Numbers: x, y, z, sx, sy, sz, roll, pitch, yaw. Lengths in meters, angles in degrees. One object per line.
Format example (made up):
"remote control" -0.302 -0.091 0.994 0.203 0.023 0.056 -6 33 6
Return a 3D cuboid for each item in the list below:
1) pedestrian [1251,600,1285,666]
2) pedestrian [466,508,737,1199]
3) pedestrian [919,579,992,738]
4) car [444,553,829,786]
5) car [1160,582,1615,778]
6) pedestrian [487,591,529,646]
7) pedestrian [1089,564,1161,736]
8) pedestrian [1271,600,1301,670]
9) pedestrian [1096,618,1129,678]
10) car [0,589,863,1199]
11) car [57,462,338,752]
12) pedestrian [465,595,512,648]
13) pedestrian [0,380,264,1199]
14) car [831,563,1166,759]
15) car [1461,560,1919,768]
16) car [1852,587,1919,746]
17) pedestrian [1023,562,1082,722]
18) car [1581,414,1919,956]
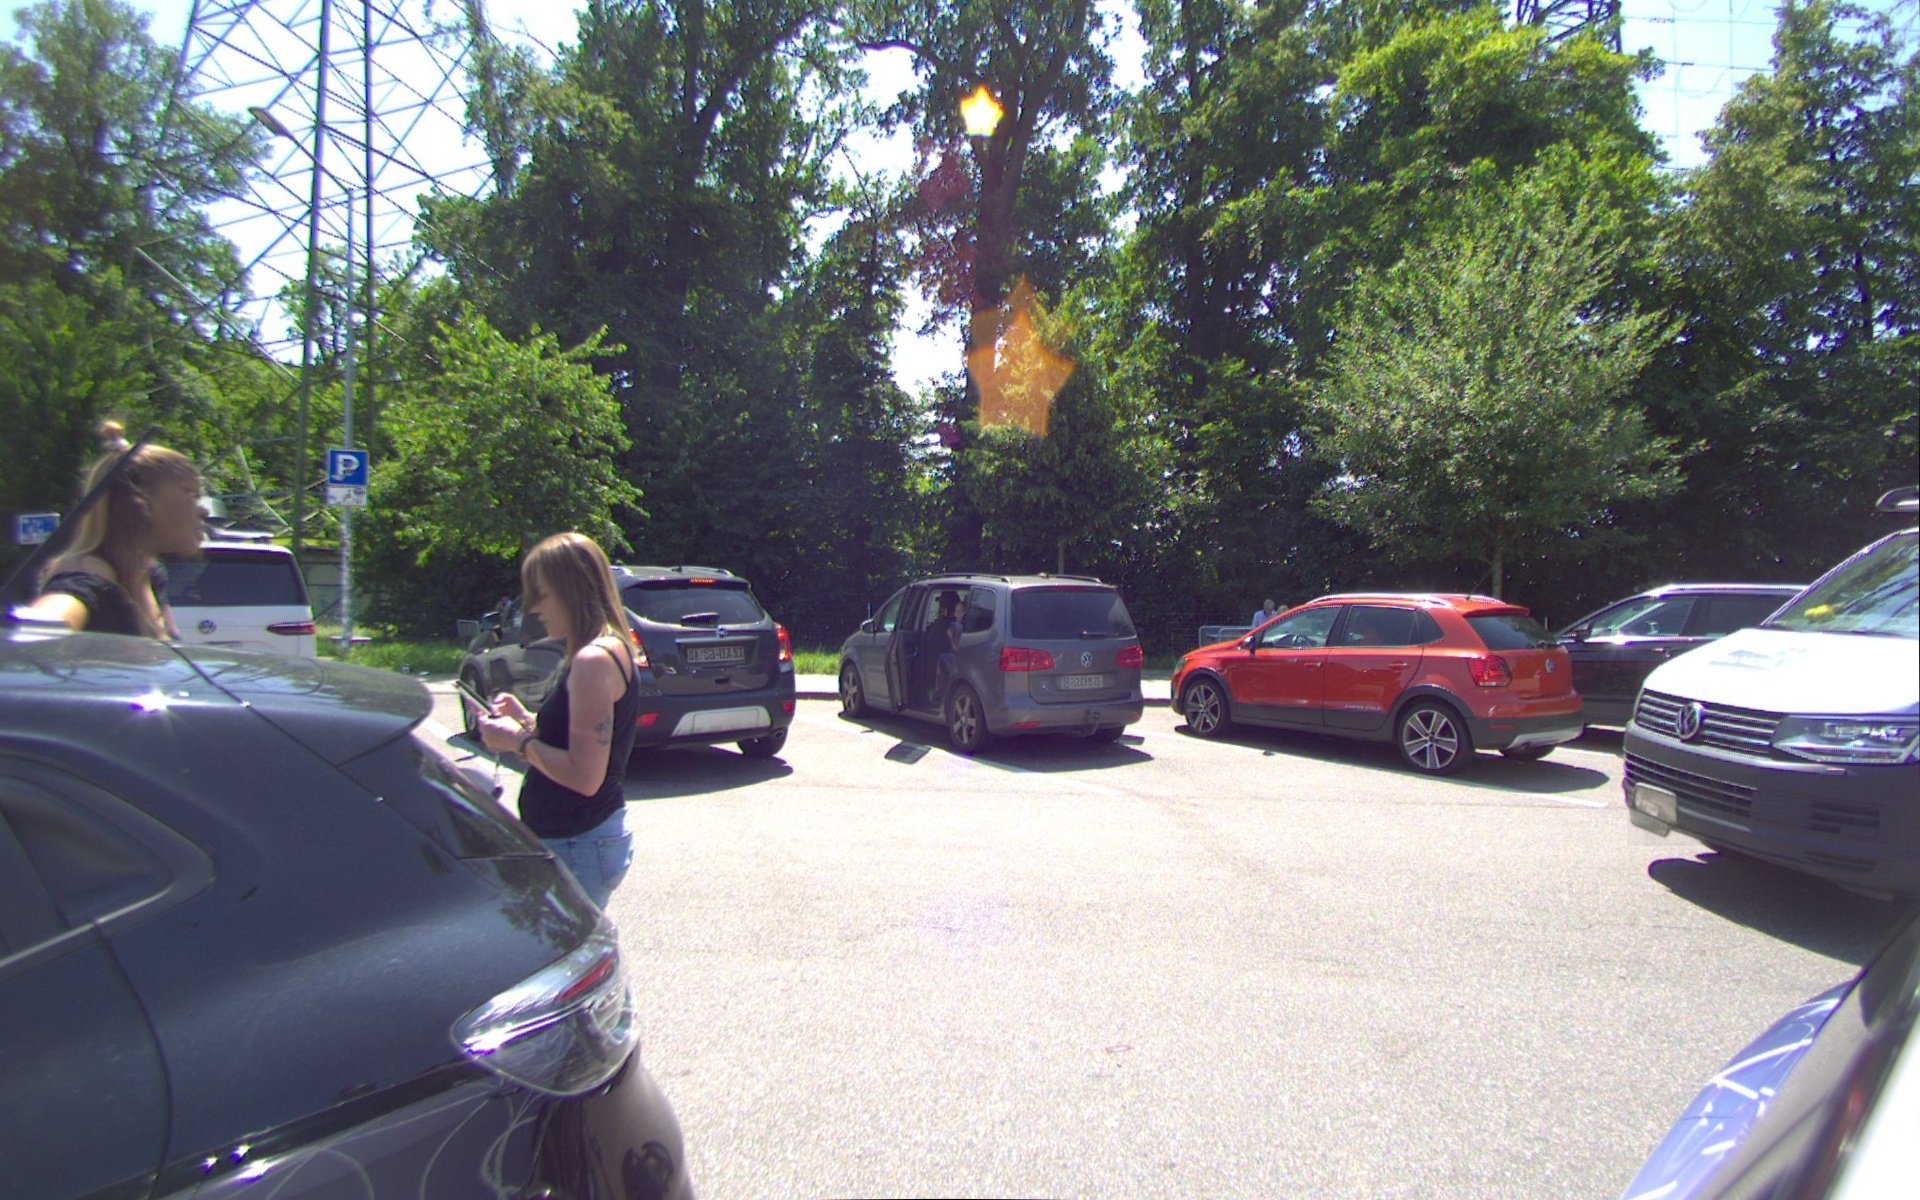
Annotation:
"pedestrian" 5.782 0.607 18.990 0.433 1.207 0.414 0 0 -30
"pedestrian" -0.926 0.602 2.610 0.477 1.614 0.502 1 -1 -44
"pedestrian" -0.052 0.556 10.061 0.511 1.516 0.560 0 0 -30
"car" -3.139 0.482 9.274 1.807 1.637 4.159 1 0 -42
"car" 3.841 0.606 9.666 1.588 1.485 3.751 1 0 -34
"pedestrian" -10.978 0.434 24.579 0.539 1.318 0.758 0 0 37
"pedestrian" 1.726 0.500 10.602 0.576 1.744 0.483 0 0 -20
"pedestrian" 5.780 0.615 17.969 0.348 1.207 0.367 0 0 -20
"pedestrian" 2.382 0.740 15.763 0.494 0.890 0.512 0 0 10
"car" -2.022 0.739 0.824 1.776 1.476 3.628 0 0 43
"car" -8.331 0.047 10.848 1.897 2.400 4.963 1 -1 -43
"pedestrian" -10.619 0.469 22.807 0.785 1.178 0.696 0 0 39
"pedestrian" -1.984 0.516 2.413 0.478 1.883 0.913 1 -1 -33
"car" 0.194 0.496 10.585 1.670 1.637 3.912 0 0 -30
"car" 7.166 0.503 9.745 1.679 1.637 3.863 1 0 -40
"car" 10.479 0.640 8.826 1.813 1.473 3.776 1 0 -36
"pedestrian" 1.026 0.451 11.279 0.500 1.744 0.438 0 0 -24
"car" 6.200 0.351 4.710 5.336 2.131 1.842 1 1 4
